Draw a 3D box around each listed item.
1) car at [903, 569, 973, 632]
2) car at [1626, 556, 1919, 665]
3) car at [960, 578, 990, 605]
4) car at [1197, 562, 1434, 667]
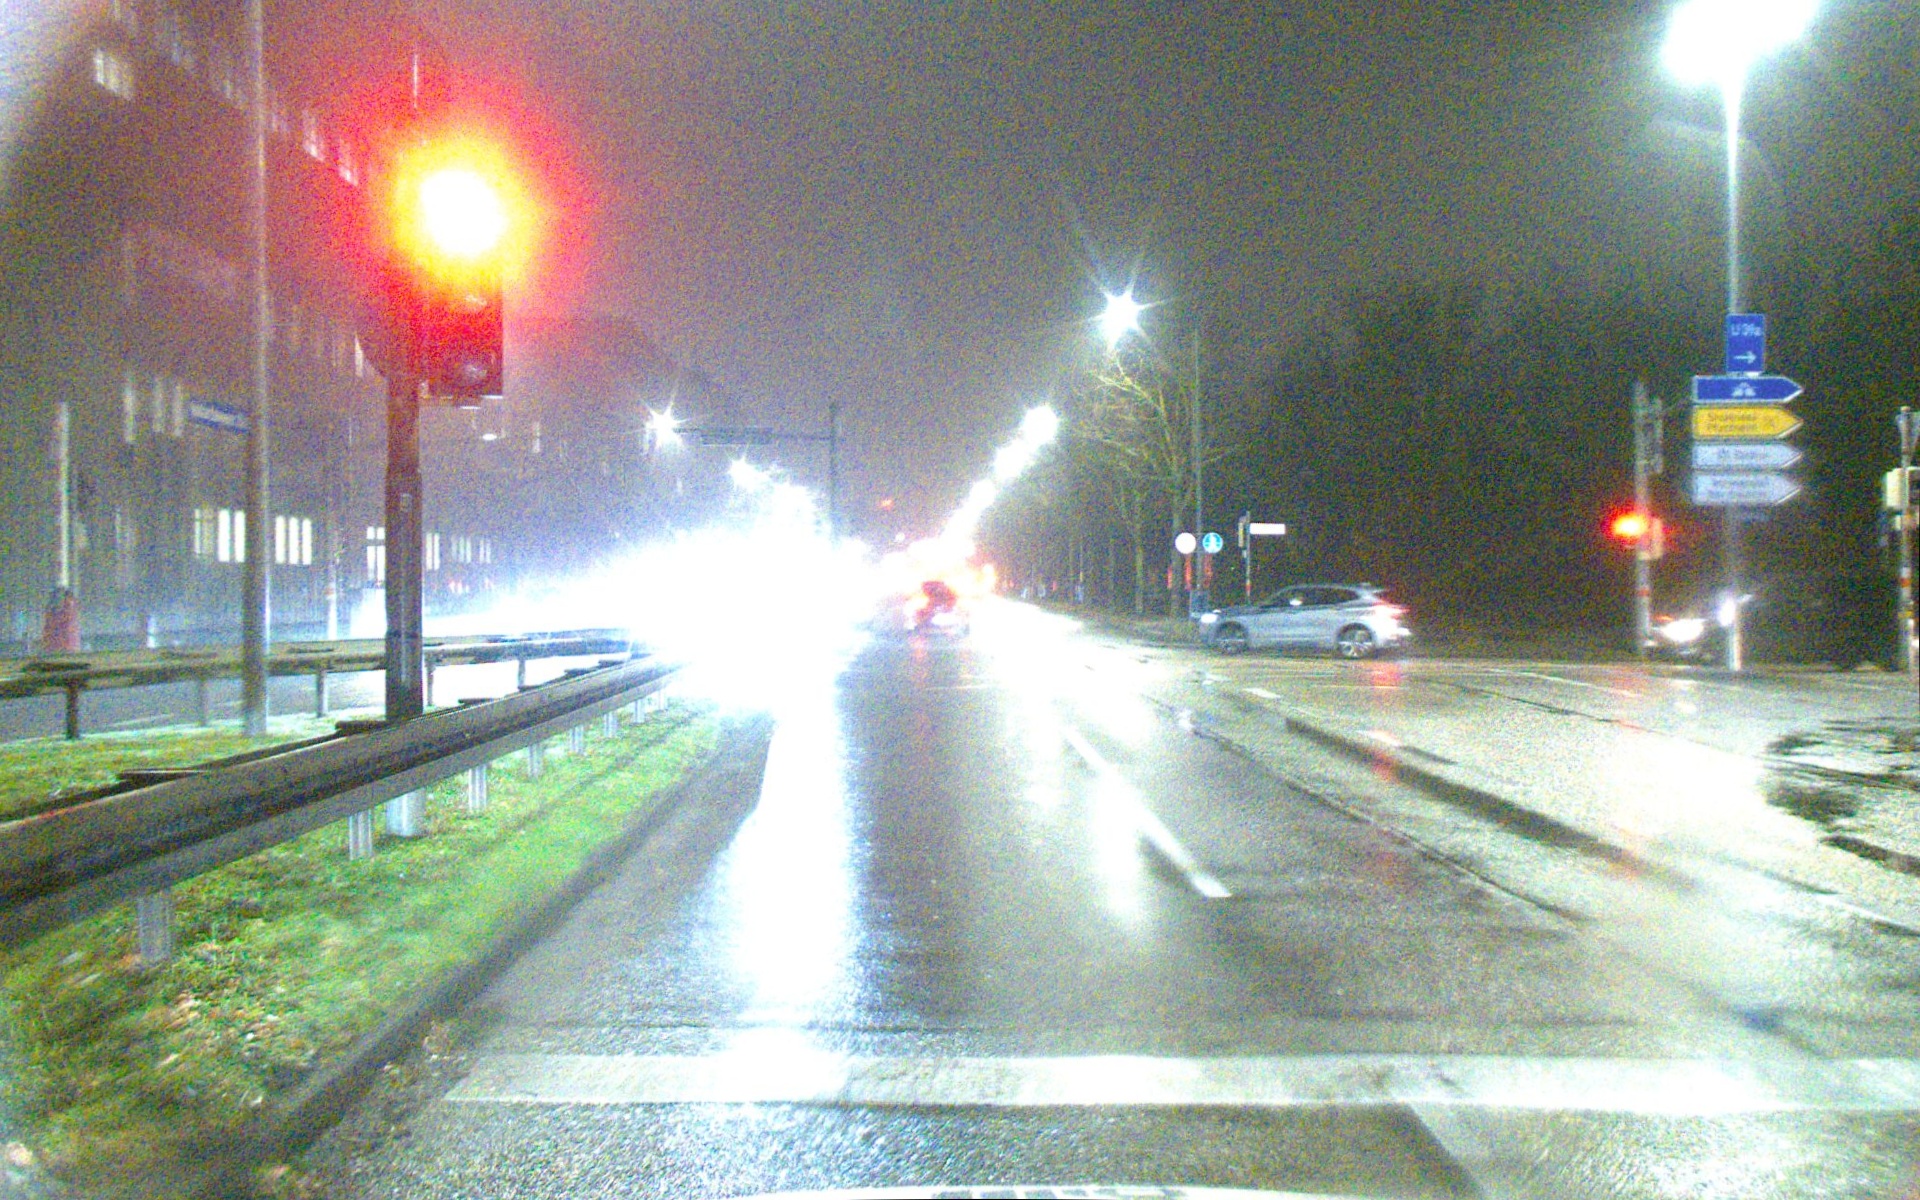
[{"bbox_3d":[-0.642,0.033,48.989,1.953,1.735,4.632,1,0,-1],"label":"car"},{"bbox_3d":[14.466,0.189,28.986,4.799,1.771,1.972,1,0,4],"label":"car"},{"bbox_3d":[1.018,-0.544,114.432,1.953,1.790,3.999,1,0,-1],"label":"car"},{"bbox_3d":[7.434,0.275,34.607,4.525,2.049,1.999,1,0,25],"label":"car"}]
